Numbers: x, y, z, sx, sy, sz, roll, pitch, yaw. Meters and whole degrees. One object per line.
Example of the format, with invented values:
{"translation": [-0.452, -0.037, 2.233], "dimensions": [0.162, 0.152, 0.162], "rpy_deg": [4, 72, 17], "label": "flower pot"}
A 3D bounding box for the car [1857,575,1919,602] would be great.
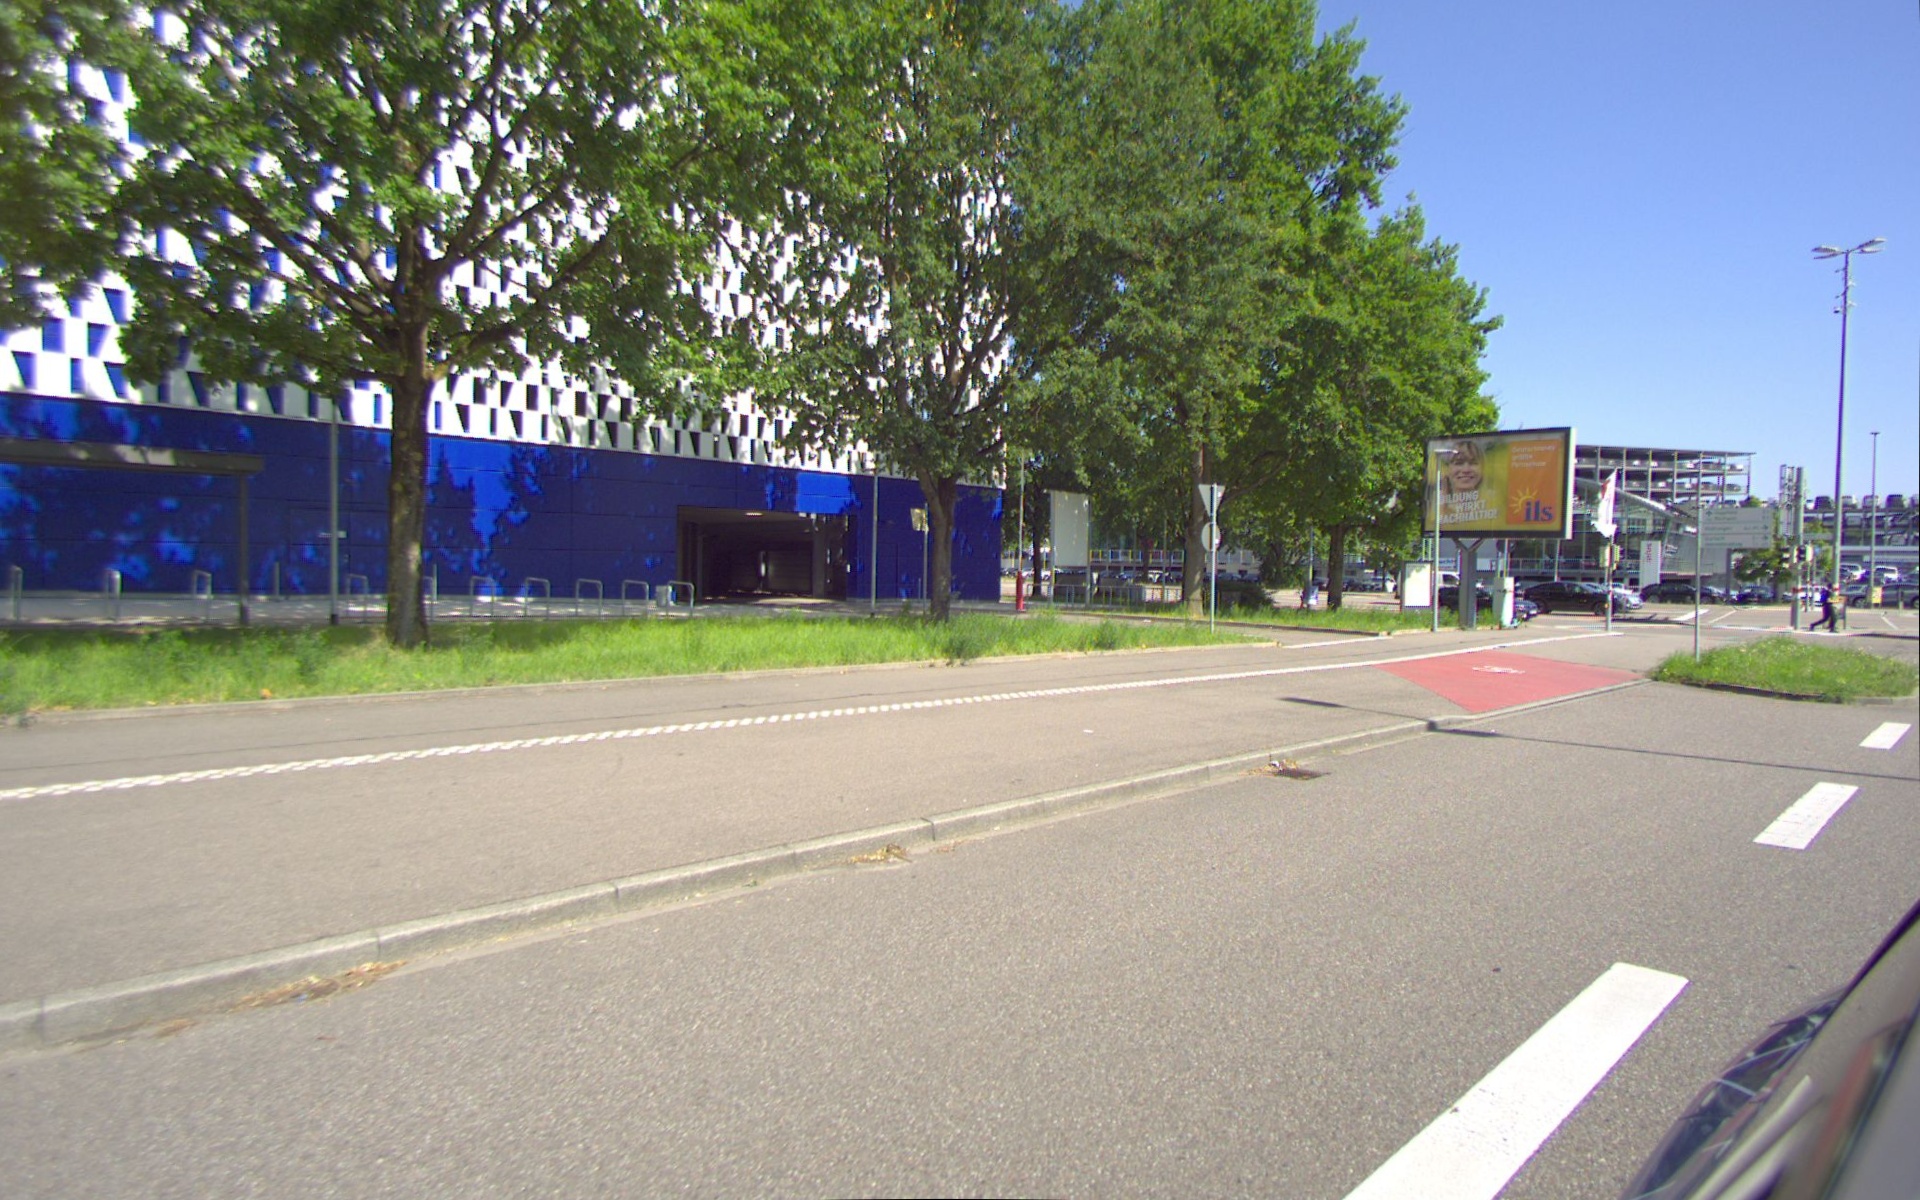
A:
{"translation": [59.131, -0.694, 63.204], "dimensions": [1.947, 1.607, 4.472], "rpy_deg": [-1, 3, -44], "label": "car"}

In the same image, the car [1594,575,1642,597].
{"translation": [45.610, -0.958, 70.130], "dimensions": [2.000, 1.439, 4.048], "rpy_deg": [3, 3, 44], "label": "car"}

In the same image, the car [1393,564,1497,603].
{"translation": [27.238, -0.961, 56.989], "dimensions": [4.985, 2.032, 1.714], "rpy_deg": [3, 4, 44], "label": "car"}

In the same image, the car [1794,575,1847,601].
{"translation": [53.251, -0.771, 62.630], "dimensions": [3.930, 1.478, 1.887], "rpy_deg": [-2, 3, -40], "label": "car"}

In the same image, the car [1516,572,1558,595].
{"translation": [41.811, -1.204, 73.297], "dimensions": [1.882, 1.565, 3.829], "rpy_deg": [2, 2, 42], "label": "car"}

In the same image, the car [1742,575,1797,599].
{"translation": [51.420, -0.824, 64.259], "dimensions": [3.930, 1.479, 1.998], "rpy_deg": [-1, 2, -40], "label": "car"}

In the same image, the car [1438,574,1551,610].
{"translation": [24.107, -0.395, 45.799], "dimensions": [1.737, 1.482, 4.244], "rpy_deg": [-2, 3, -29], "label": "car"}

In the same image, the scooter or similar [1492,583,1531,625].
{"translation": [15.912, 0.102, 29.199], "dimensions": [1.160, 1.181, 0.403], "rpy_deg": [-1, 2, -28], "label": "scooter or similar"}

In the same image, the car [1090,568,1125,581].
{"translation": [14.569, -2.487, 100.070], "dimensions": [3.355, 1.264, 1.595], "rpy_deg": [-1, 2, -38], "label": "car"}

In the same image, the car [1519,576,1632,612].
{"translation": [29.892, -0.342, 49.221], "dimensions": [4.489, 1.647, 1.689], "rpy_deg": [1, 3, 44], "label": "car"}

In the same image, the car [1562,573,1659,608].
{"translation": [33.232, -0.513, 51.803], "dimensions": [1.729, 1.632, 3.827], "rpy_deg": [-2, 3, -39], "label": "car"}

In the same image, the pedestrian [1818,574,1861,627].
{"translation": [31.092, 0.012, 35.780], "dimensions": [0.939, 1.801, 0.708], "rpy_deg": [0, 2, -20], "label": "pedestrian"}

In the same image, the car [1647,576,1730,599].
{"translation": [48.767, -0.847, 67.808], "dimensions": [4.338, 1.366, 1.793], "rpy_deg": [3, 3, 44], "label": "car"}
